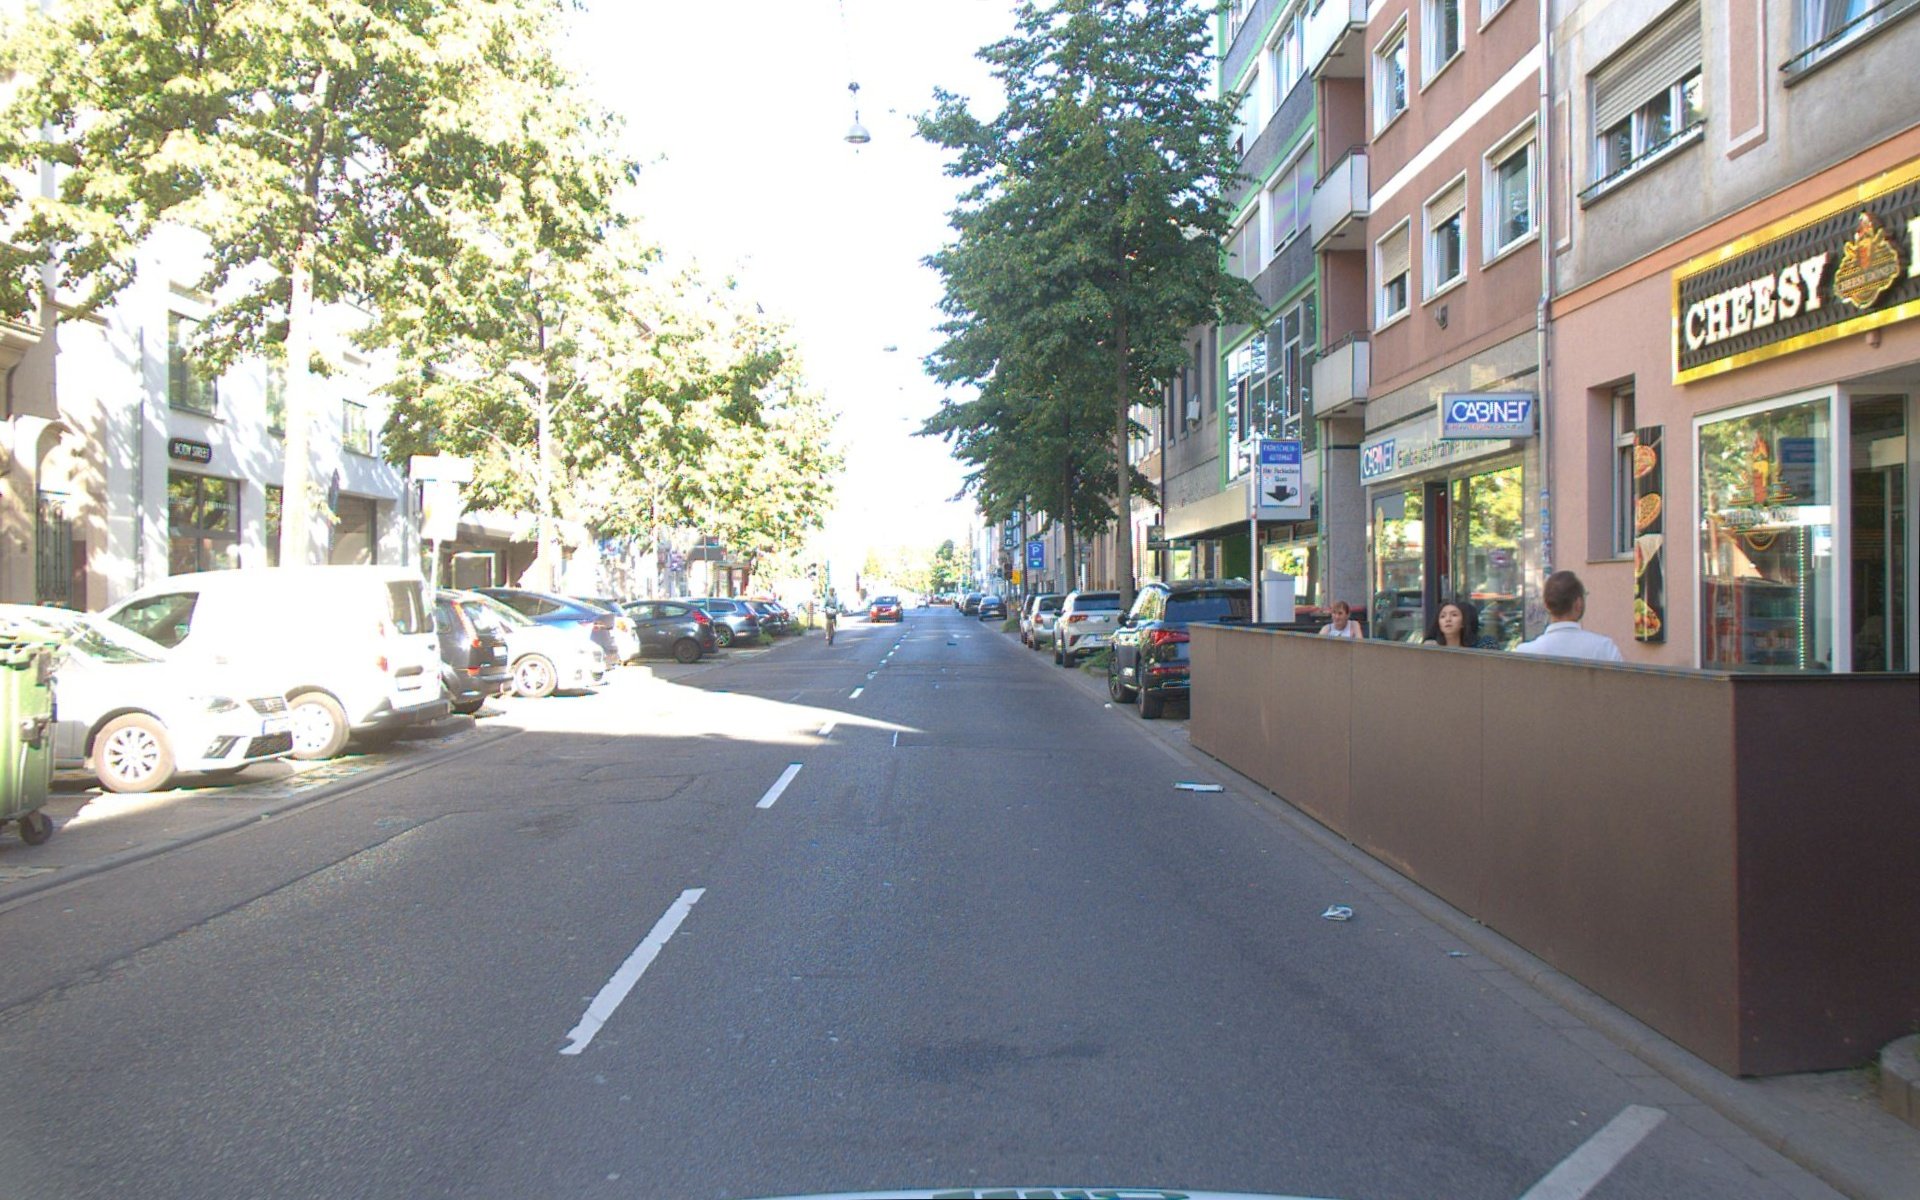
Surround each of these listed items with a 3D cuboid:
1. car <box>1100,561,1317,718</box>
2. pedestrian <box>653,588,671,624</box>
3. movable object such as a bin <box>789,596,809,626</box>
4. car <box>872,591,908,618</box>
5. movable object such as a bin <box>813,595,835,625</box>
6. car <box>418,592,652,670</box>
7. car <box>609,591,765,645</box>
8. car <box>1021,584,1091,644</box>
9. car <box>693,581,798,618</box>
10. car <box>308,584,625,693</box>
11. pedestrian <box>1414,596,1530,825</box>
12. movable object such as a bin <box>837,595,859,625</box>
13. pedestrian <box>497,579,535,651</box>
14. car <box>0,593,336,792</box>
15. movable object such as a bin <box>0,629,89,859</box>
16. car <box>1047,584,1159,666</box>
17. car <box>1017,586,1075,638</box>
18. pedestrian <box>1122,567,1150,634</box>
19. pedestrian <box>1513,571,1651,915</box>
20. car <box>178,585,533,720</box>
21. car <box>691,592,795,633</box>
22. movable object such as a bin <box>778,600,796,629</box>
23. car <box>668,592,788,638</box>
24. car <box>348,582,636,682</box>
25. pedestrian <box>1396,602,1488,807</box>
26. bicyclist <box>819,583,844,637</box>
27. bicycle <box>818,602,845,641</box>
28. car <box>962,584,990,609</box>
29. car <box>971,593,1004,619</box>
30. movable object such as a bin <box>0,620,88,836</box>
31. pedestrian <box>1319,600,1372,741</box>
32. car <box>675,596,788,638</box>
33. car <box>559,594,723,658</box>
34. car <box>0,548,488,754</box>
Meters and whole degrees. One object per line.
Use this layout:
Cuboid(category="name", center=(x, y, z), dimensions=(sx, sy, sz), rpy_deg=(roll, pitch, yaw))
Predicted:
Cuboid(category="car", center=(3.096, 0.449, 21.574), dimensions=(1.953, 1.719, 4.515), rpy_deg=(-3, 0, -1))
Cuboid(category="pedestrian", center=(-11.850, 0.242, 65.843), dimensions=(0.497, 1.433, 0.825), rpy_deg=(1, 0, 3))
Cuboid(category="movable object such as a bin", center=(-8.147, 0.557, 83.871), dimensions=(0.944, 1.497, 1.143), rpy_deg=(0, 0, -2))
Cuboid(category="car", center=(-4.097, 0.252, 97.775), dimensions=(1.623, 1.562, 3.763), rpy_deg=(-2, 0, 5))
Cuboid(category="movable object such as a bin", center=(-6.893, 0.481, 83.716), dimensions=(1.021, 1.497, 1.143), rpy_deg=(-1, 0, -2))
Cuboid(category="car", center=(-8.268, 0.585, 32.500), dimensions=(4.162, 1.484, 1.978), rpy_deg=(0, 0, -5))
Cuboid(category="car", center=(-8.215, 0.529, 50.025), dimensions=(4.403, 1.484, 1.789), rpy_deg=(1, 0, -3))
Cuboid(category="car", center=(2.715, 0.378, 47.634), dimensions=(1.581, 1.555, 4.233), rpy_deg=(-3, 0, -2))
Cuboid(category="car", center=(-8.920, -0.017, 69.064), dimensions=(4.116, 1.494, 1.740), rpy_deg=(1, 0, 1))
Cuboid(category="car", center=(-7.511, 0.567, 25.491), dimensions=(4.277, 1.598, 1.946), rpy_deg=(0, 0, -1))
Cuboid(category="pedestrian", center=(3.229, 0.680, 10.461), dimensions=(0.541, 1.403, 0.594), rpy_deg=(1, 0, 0))
Cuboid(category="movable object such as a bin", center=(-5.675, 0.510, 83.889), dimensions=(1.021, 1.497, 1.452), rpy_deg=(-1, 0, -2))
Cuboid(category="pedestrian", center=(-11.432, 0.385, 42.589), dimensions=(0.684, 1.829, 0.746), rpy_deg=(0, 0, 11))
Cuboid(category="car", center=(-7.473, 0.700, 13.662), dimensions=(3.898, 1.489, 1.887), rpy_deg=(1, 0, -1))
Cuboid(category="movable object such as a bin", center=(-6.151, 0.853, 10.089), dimensions=(1.212, 1.325, 0.870), rpy_deg=(0, 0, -2))
Cuboid(category="car", center=(2.968, 0.482, 35.124), dimensions=(1.845, 1.553, 4.233), rpy_deg=(-2, 0, -1))
Cuboid(category="car", center=(2.767, 0.376, 53.441), dimensions=(1.581, 1.555, 3.059), rpy_deg=(-2, 0, -2))
Cuboid(category="pedestrian", center=(4.825, 0.009, 45.279), dimensions=(0.610, 1.796, 0.771), rpy_deg=(-2, 0, 0))
Cuboid(category="pedestrian", center=(2.902, 0.648, 7.735), dimensions=(0.463, 1.556, 0.462), rpy_deg=(1, 0, 0))
Cuboid(category="car", center=(-7.379, 0.617, 20.461), dimensions=(3.722, 1.585, 1.791), rpy_deg=(0, 0, -1))
Cuboid(category="car", center=(-8.070, 0.449, 61.778), dimensions=(3.672, 1.494, 1.739), rpy_deg=(1, 0, -1))
Cuboid(category="movable object such as a bin", center=(-8.031, 0.664, 76.870), dimensions=(0.739, 1.364, 0.805), rpy_deg=(-1, 0, -2))
Cuboid(category="car", center=(-7.910, 0.506, 56.680), dimensions=(3.838, 1.511, 1.771), rpy_deg=(1, 0, 0))
Cuboid(category="car", center=(-7.800, 0.516, 27.867), dimensions=(4.277, 1.598, 1.980), rpy_deg=(0, 0, -1))
Cuboid(category="pedestrian", center=(3.354, 0.708, 11.530), dimensions=(0.463, 1.386, 0.594), rpy_deg=(1, 0, 0))
Cuboid(category="bicyclist", center=(-4.114, 0.309, 53.127), dimensions=(0.710, 1.730, 1.282), rpy_deg=(0, 0, 0))
Cuboid(category="bicycle", center=(-4.116, 0.679, 53.207), dimensions=(0.710, 1.189, 2.197), rpy_deg=(0, 0, 0))
Cuboid(category="car", center=(1.163, -0.248, 122.926), dimensions=(1.933, 1.755, 4.823), rpy_deg=(1, 0, -1))
Cuboid(category="car", center=(1.688, 0.360, 103.351), dimensions=(1.879, 1.504, 4.964), rpy_deg=(-4, 0, -1))
Cuboid(category="movable object such as a bin", center=(-6.668, 0.828, 11.074), dimensions=(1.168, 1.369, 0.931), rpy_deg=(0, 0, -2))
Cuboid(category="pedestrian", center=(3.800, 0.680, 16.283), dimensions=(0.463, 1.354, 0.483), rpy_deg=(0, 0, 18))
Cuboid(category="car", center=(-8.150, 0.588, 59.245), dimensions=(3.762, 1.454, 1.790), rpy_deg=(1, 0, 0))
Cuboid(category="car", center=(-7.511, 0.597, 39.225), dimensions=(3.709, 1.484, 1.777), rpy_deg=(0, 0, -8))
Cuboid(category="car", center=(-7.014, 0.468, 16.457), dimensions=(4.022, 1.868, 2.038), rpy_deg=(1, 0, -1))
